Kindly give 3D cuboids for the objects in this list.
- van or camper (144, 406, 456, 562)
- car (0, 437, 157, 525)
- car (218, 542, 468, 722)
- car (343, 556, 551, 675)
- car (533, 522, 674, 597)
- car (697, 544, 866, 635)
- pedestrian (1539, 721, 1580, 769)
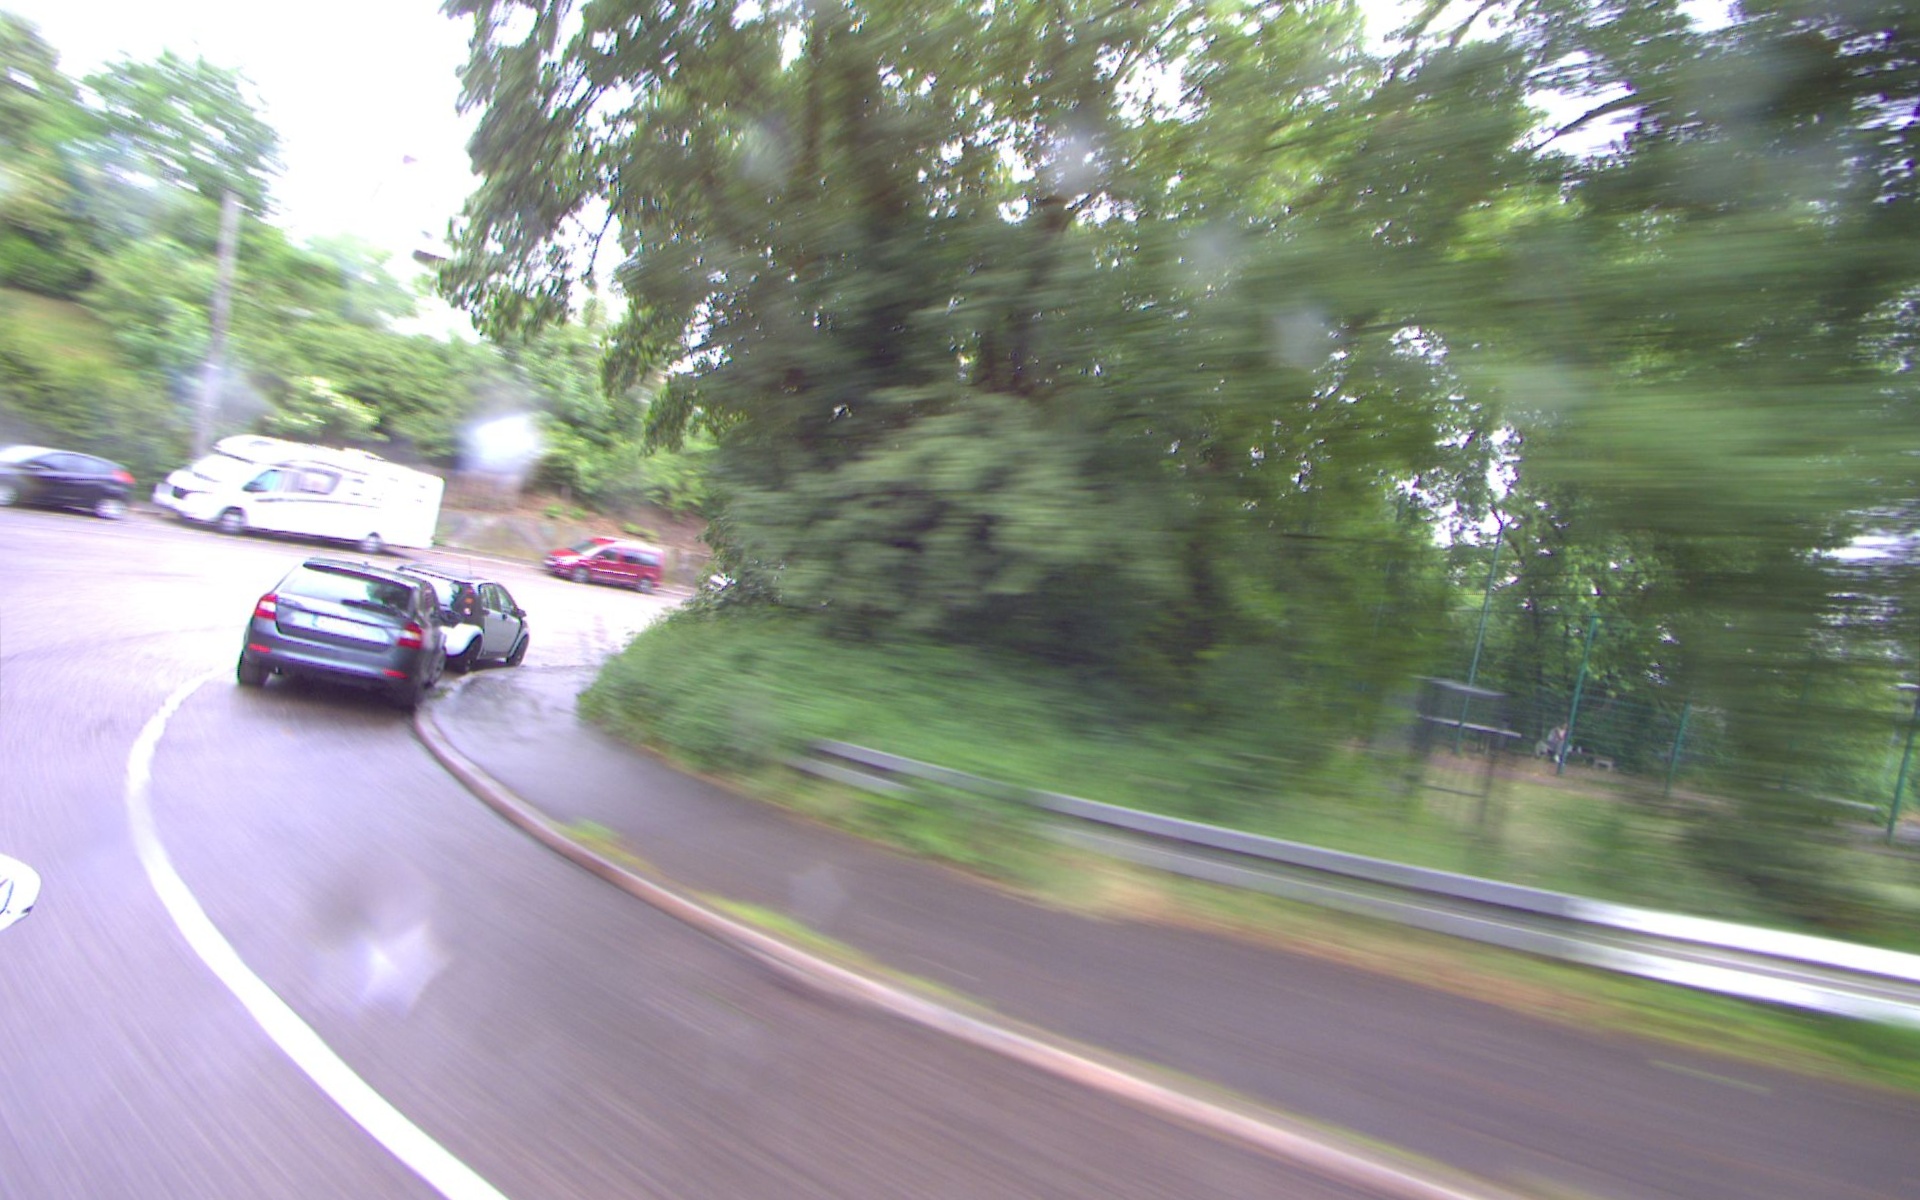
[{"bbox_3d":[-19.299,-3.230,30.165,2.161,2.965,7.666,14,1,20],"label":"van or camper"},{"bbox_3d":[-21.337,-2.870,23.070,1.727,1.370,4.318,14,-1,11],"label":"car"},{"bbox_3d":[-7.018,0.282,11.891,1.636,1.479,4.012,13,-3,-22],"label":"car"},{"bbox_3d":[-8.393,0.245,16.848,1.663,1.422,3.725,13,-2,-6],"label":"car"},{"bbox_3d":[-14.269,-1.592,40.523,1.766,1.909,4.915,15,1,37],"label":"car"},{"bbox_3d":[-8.102,-0.418,46.309,7.074,2.566,2.303,13,2,-38],"label":"car"},{"bbox_3d":[17.401,4.203,29.237,0.617,1.199,0.811,8,1,9],"label":"pedestrian"}]
